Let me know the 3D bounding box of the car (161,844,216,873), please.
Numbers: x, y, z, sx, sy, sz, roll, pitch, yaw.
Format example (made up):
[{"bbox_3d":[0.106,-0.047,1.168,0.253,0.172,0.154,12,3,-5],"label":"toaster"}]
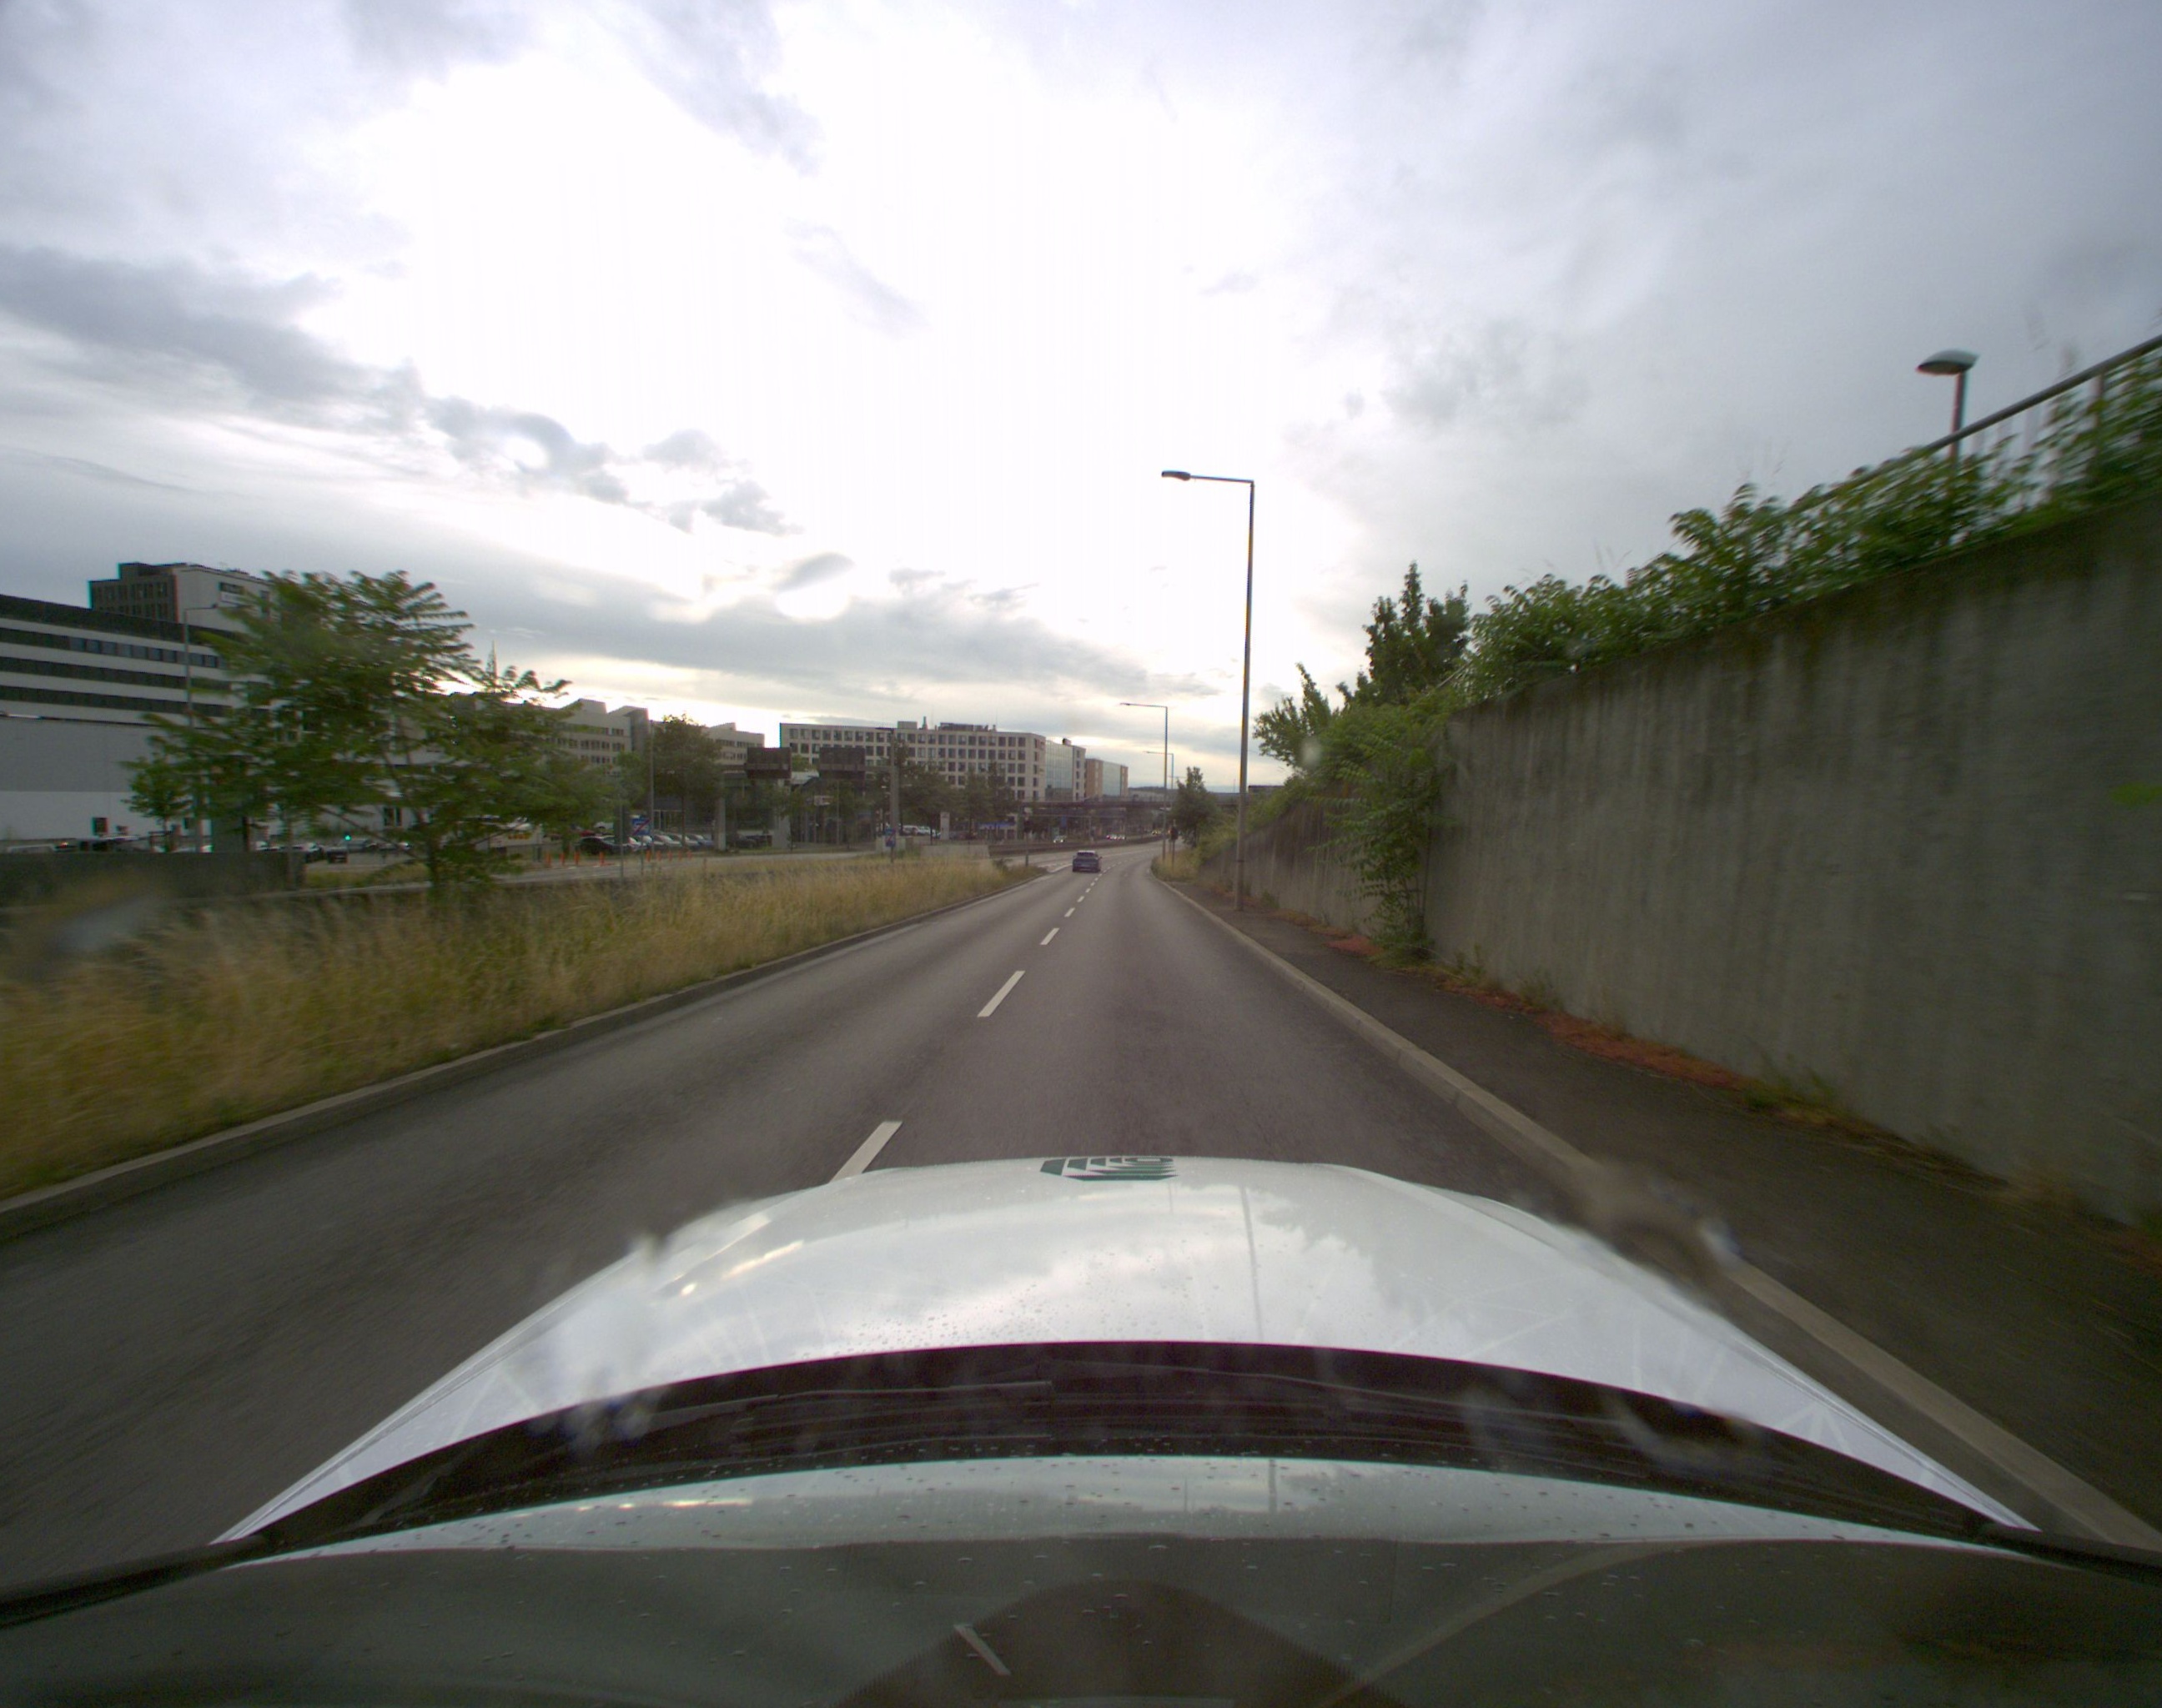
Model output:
[{"bbox_3d":[-63.372,0.265,57.904,2.010,1.683,3.957,0,6,-38],"label":"car"}]

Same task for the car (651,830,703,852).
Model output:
[{"bbox_3d":[-37.788,-1.220,76.151,3.962,1.683,1.930,4,4,11],"label":"car"}]

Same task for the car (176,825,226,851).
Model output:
[{"bbox_3d":[-68.225,-1.257,63.221,2.010,1.705,3.957,0,6,-38],"label":"car"}]

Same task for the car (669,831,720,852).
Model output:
[{"bbox_3d":[-37.207,-1.219,78.429,3.962,1.683,1.930,4,4,11],"label":"car"}]

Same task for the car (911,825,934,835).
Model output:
[{"bbox_3d":[-31.646,-4.740,162.898,3.958,1.650,2.009,4,4,15],"label":"car"}]

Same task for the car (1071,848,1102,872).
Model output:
[{"bbox_3d":[0.393,0.378,55.239,1.740,1.419,3.485,-2,3,6],"label":"car"}]

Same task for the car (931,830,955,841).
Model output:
[{"bbox_3d":[-25.192,-3.326,148.531,4.000,1.650,1.988,3,2,-20],"label":"car"}]

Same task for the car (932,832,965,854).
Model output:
[{"bbox_3d":[-11.392,-0.993,70.241,1.678,1.589,3.559,4,4,8],"label":"car"}]

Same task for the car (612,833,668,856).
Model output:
[{"bbox_3d":[-38.630,-0.878,71.363,3.962,1.683,1.930,4,4,11],"label":"car"}]

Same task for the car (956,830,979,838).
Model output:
[{"bbox_3d":[-22.392,-3.997,160.813,3.961,1.353,1.856,4,2,12],"label":"car"}]

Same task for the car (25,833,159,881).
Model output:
[{"bbox_3d":[-61.439,0.150,50.689,5.121,2.488,2.534,3,4,-1],"label":"car"}]

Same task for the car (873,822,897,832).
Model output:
[{"bbox_3d":[-37.901,-5.150,157.164,3.965,1.650,2.006,4,4,8],"label":"car"}]

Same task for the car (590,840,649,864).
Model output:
[{"bbox_3d":[-39.122,-0.174,69.088,3.962,1.683,1.930,4,4,11],"label":"car"}]

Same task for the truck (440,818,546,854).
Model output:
[{"bbox_3d":[-48.685,-1.554,67.703,2.350,2.526,7.440,4,5,12],"label":"truck"}]

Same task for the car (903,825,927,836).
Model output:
[{"bbox_3d":[-32.055,-4.537,157.489,3.958,1.875,2.009,4,4,15],"label":"car"}]

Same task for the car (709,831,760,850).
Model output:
[{"bbox_3d":[-35.711,-1.435,84.038,1.900,1.683,4.531,5,5,28],"label":"car"}]

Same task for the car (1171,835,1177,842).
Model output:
[{"bbox_3d":[26.926,-4.555,235.754,1.853,1.749,4.010,3,4,7],"label":"car"}]

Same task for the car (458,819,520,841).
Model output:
[{"bbox_3d":[-51.280,-2.107,70.671,1.903,1.683,4.018,4,5,15],"label":"car"}]
